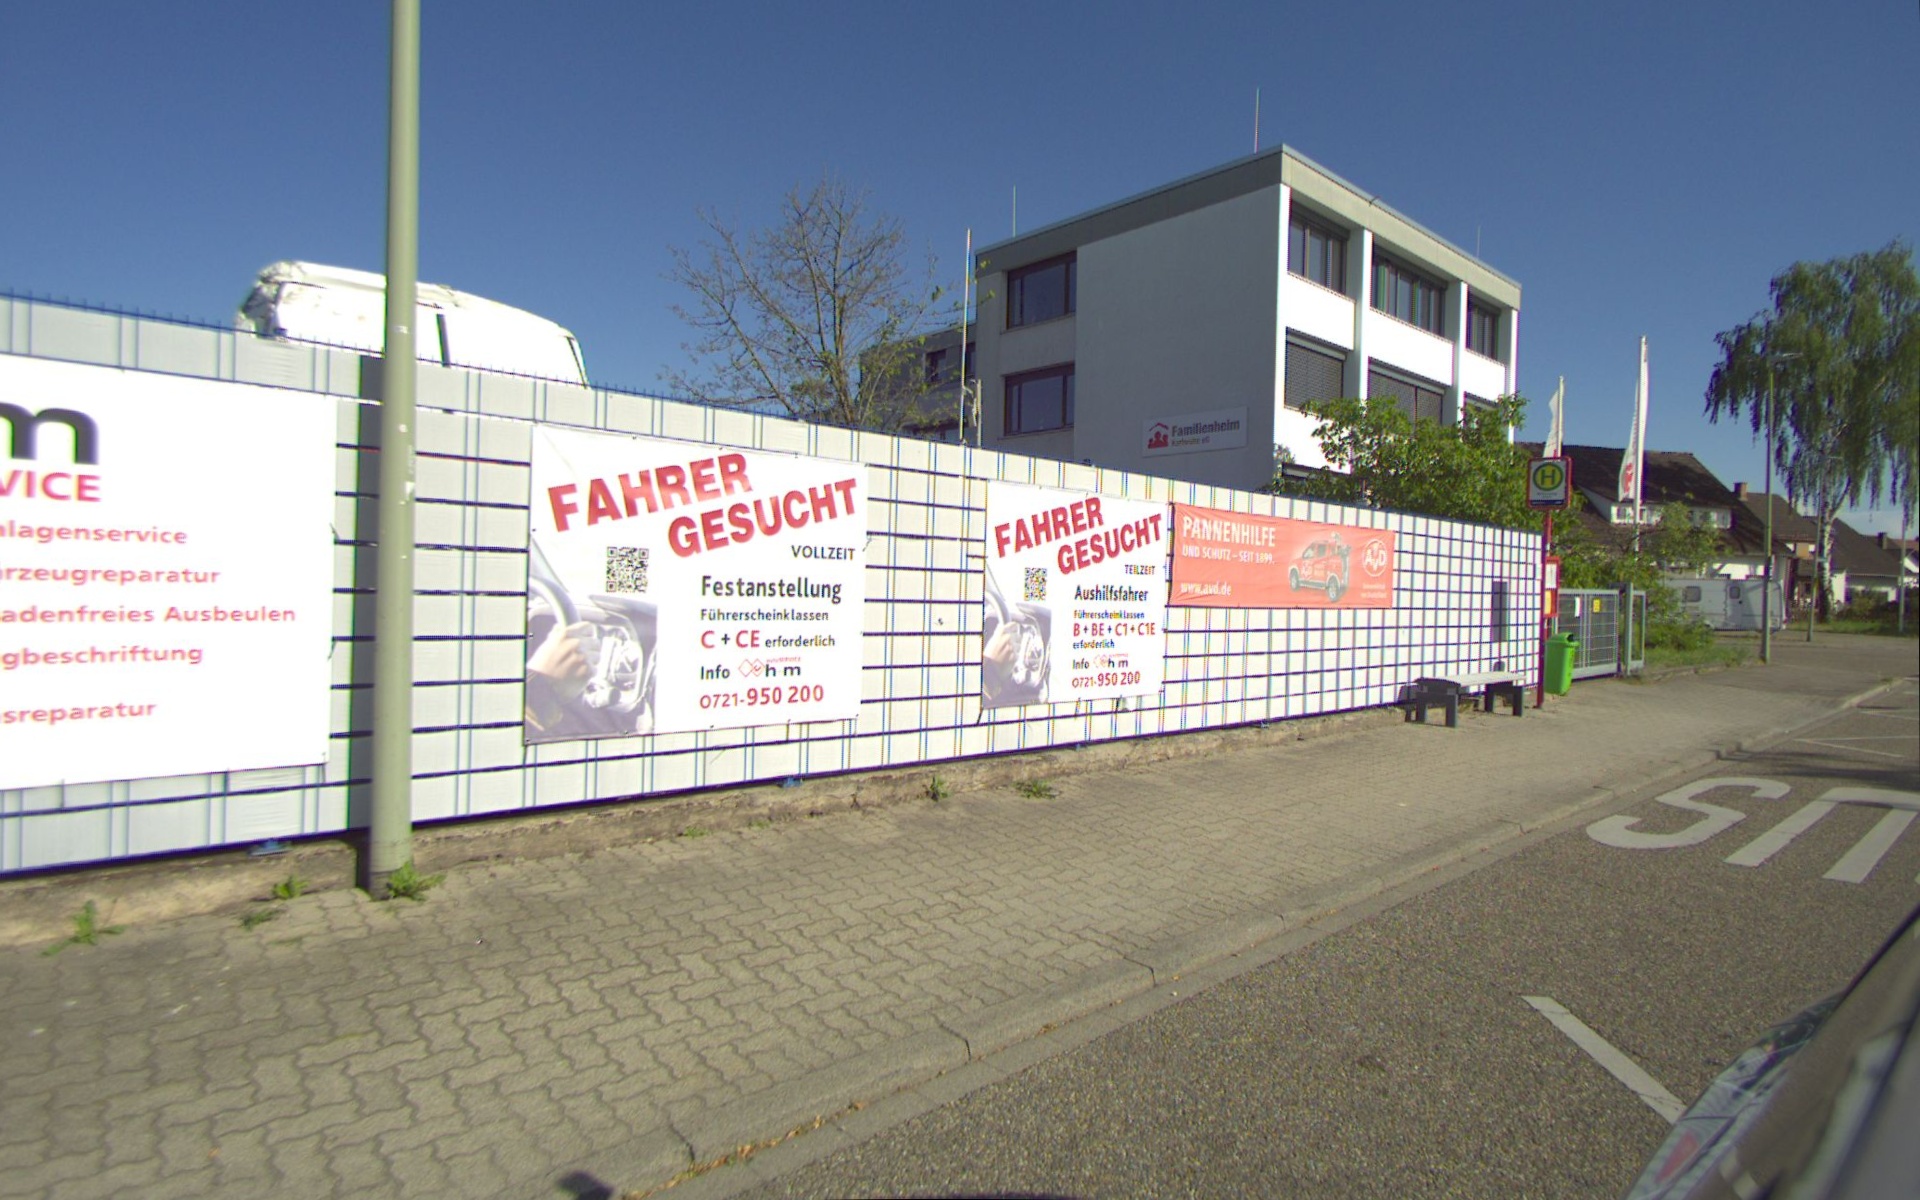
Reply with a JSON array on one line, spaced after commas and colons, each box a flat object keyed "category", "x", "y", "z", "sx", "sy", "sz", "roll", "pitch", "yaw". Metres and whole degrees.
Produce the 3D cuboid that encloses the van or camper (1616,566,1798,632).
[{"category": "van or camper", "x": 31.431, "y": -0.100, "z": 42.864, "sx": 5.770, "sy": 2.573, "sz": 2.271, "roll": 2, "pitch": 1, "yaw": 25}]
